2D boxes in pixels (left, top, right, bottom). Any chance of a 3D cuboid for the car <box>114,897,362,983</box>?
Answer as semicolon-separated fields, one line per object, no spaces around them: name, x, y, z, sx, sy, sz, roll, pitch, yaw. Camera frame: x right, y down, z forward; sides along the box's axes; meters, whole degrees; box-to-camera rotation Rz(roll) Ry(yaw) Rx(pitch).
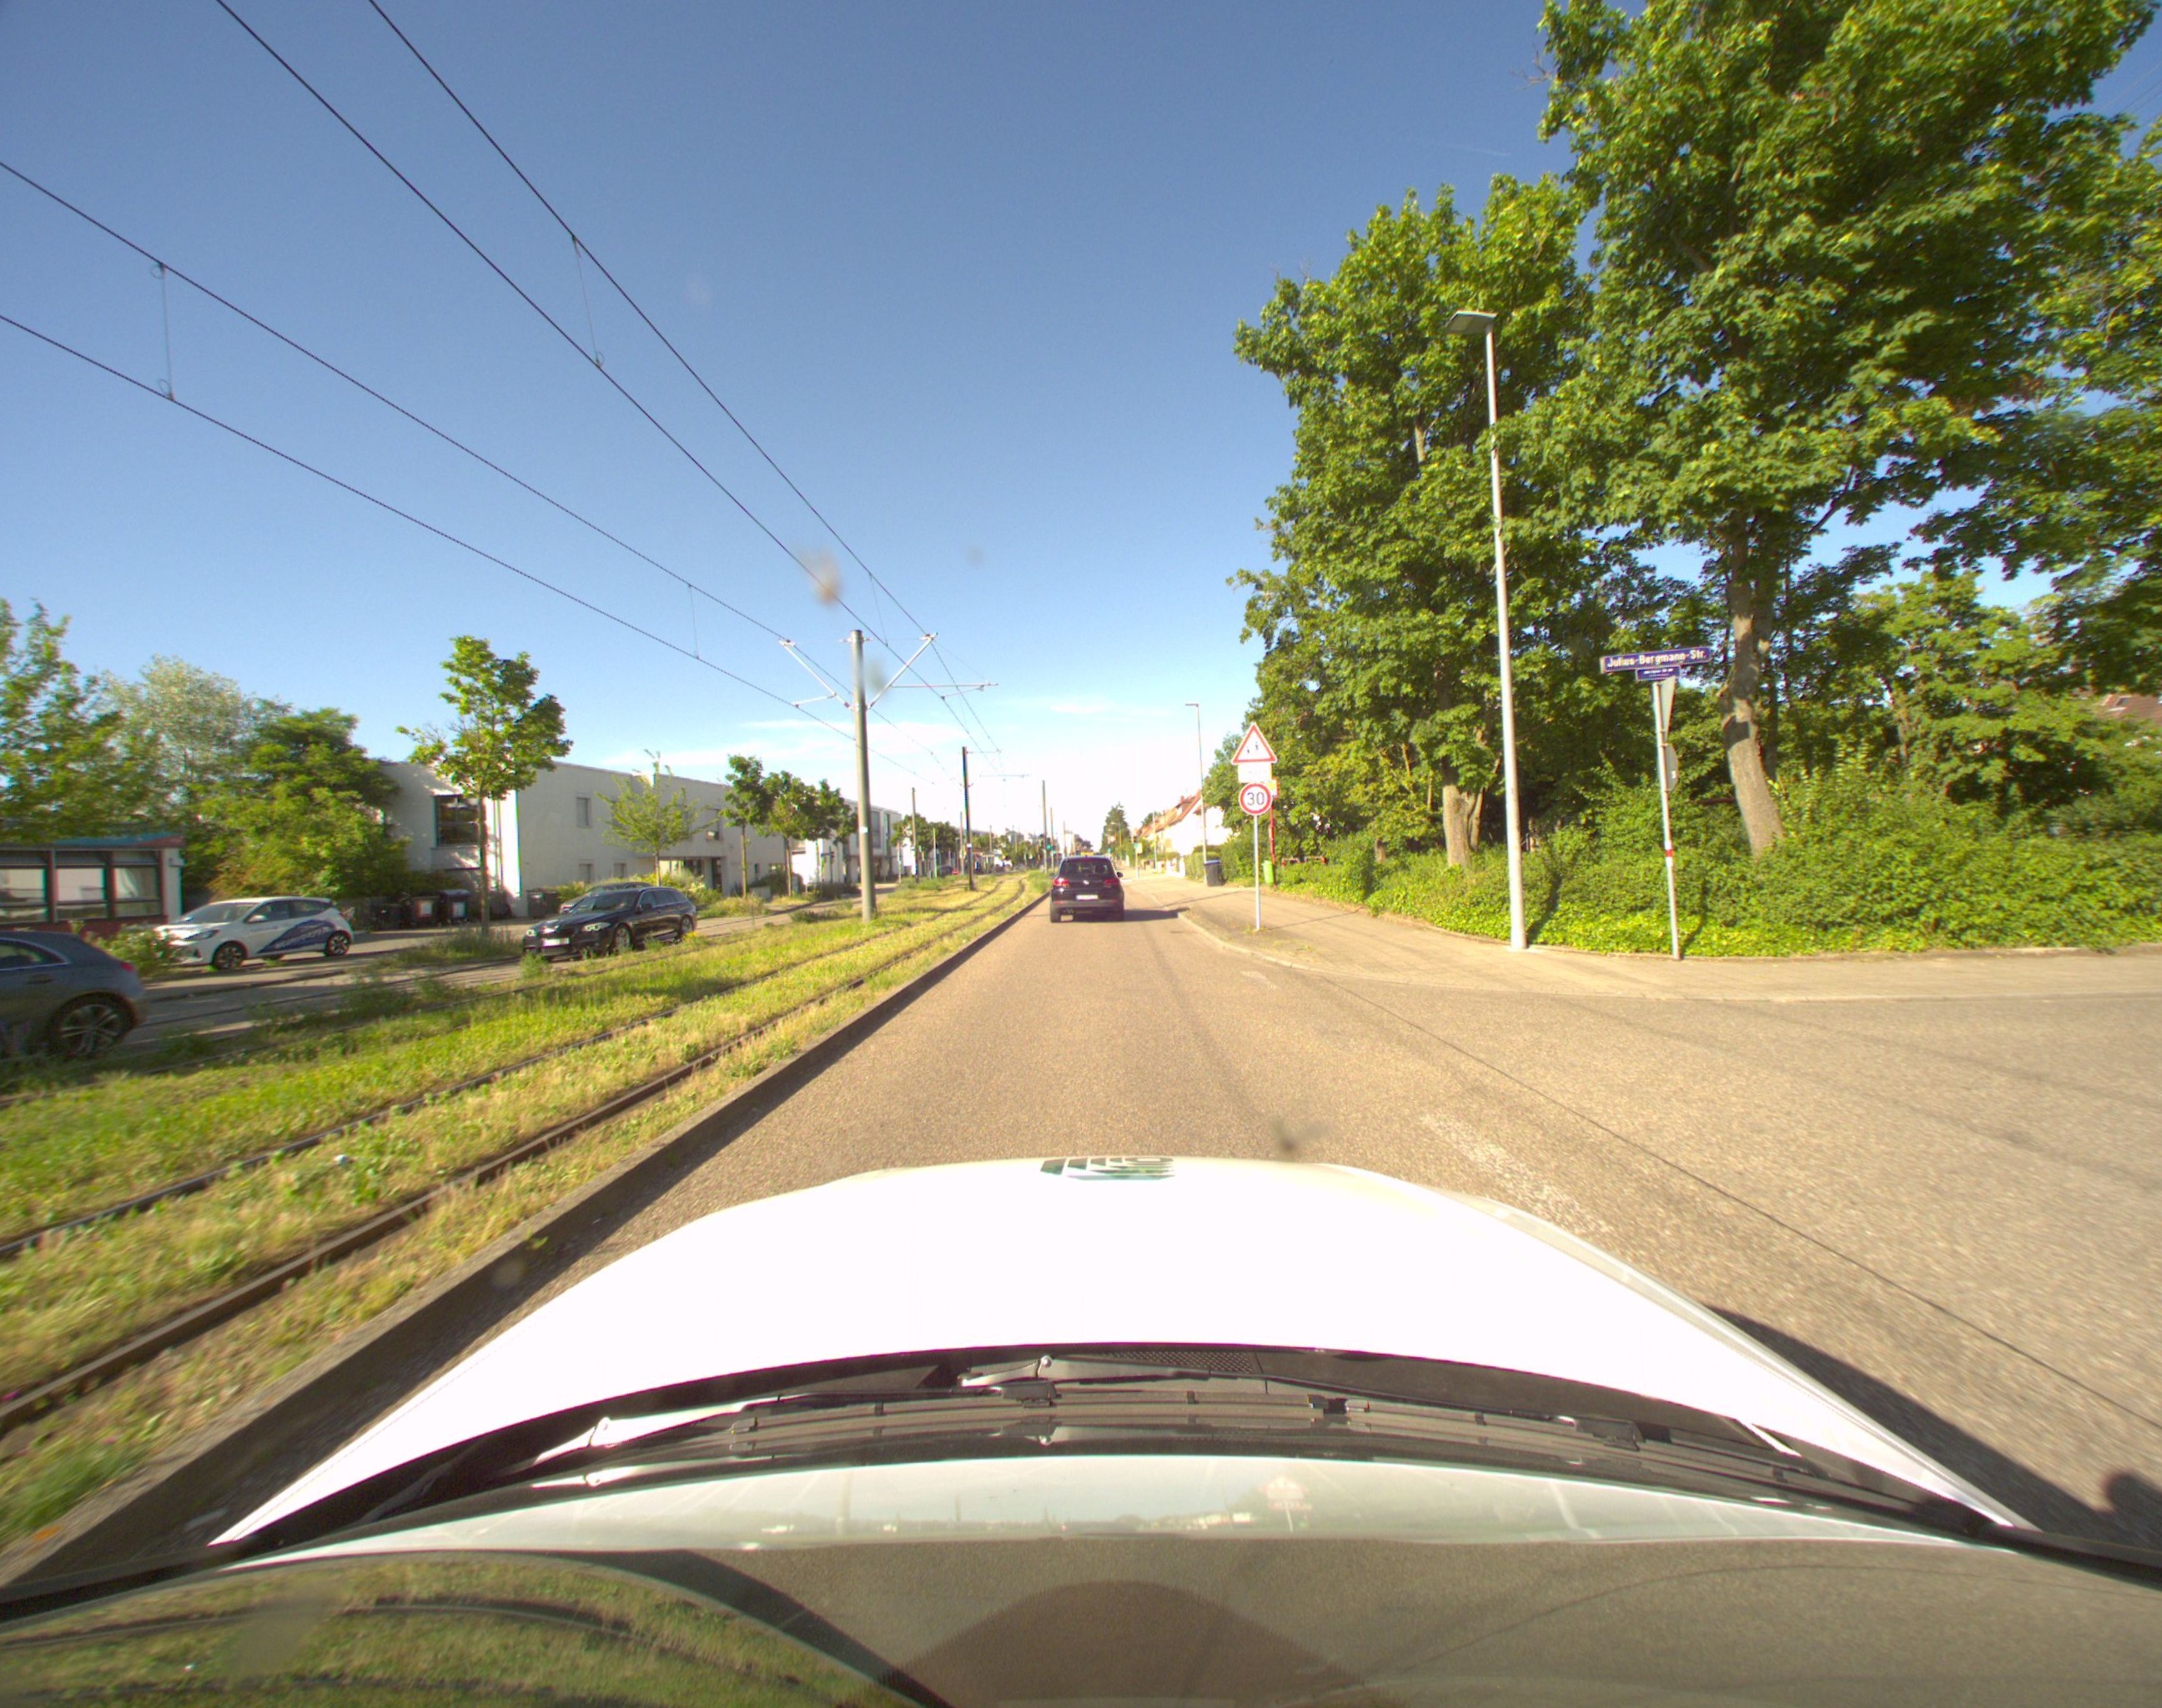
car;-18.436;1.801;18.087;1.539;1.491;3.774;-2;0;0

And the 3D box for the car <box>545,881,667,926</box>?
car;-18.118;1.855;31.322;1.801;1.461;4.324;-2;0;5

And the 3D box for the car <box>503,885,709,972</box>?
car;-10.657;1.581;18.802;1.757;1.444;4.916;-5;0;0

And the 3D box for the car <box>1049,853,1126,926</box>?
car;0.127;0.863;21.315;1.770;1.670;3.998;-2;0;-1

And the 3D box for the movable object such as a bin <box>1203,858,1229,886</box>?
movable object such as a bin;5.739;0.747;34.675;0.971;1.111;1.172;-3;0;4

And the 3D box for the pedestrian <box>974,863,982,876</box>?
pedestrian;-13.105;2.026;103.897;0.883;1.587;0.624;-3;0;-17

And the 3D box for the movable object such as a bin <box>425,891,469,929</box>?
movable object such as a bin;-25.487;2.240;32.748;0.660;1.433;1.258;-2;-1;9

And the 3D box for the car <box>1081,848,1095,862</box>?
car;1.476;0.146;158.629;2.385;2.564;5.533;-3;0;2

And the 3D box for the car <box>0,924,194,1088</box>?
car;-10.879;1.536;6.944;1.682;1.389;4.388;-5;0;1

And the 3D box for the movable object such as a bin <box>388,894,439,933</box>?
movable object such as a bin;-25.610;2.253;31.262;0.660;1.383;1.425;-2;-1;9

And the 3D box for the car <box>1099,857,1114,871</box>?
car;3.402;1.292;108.517;1.770;1.670;3.998;-3;0;-1
